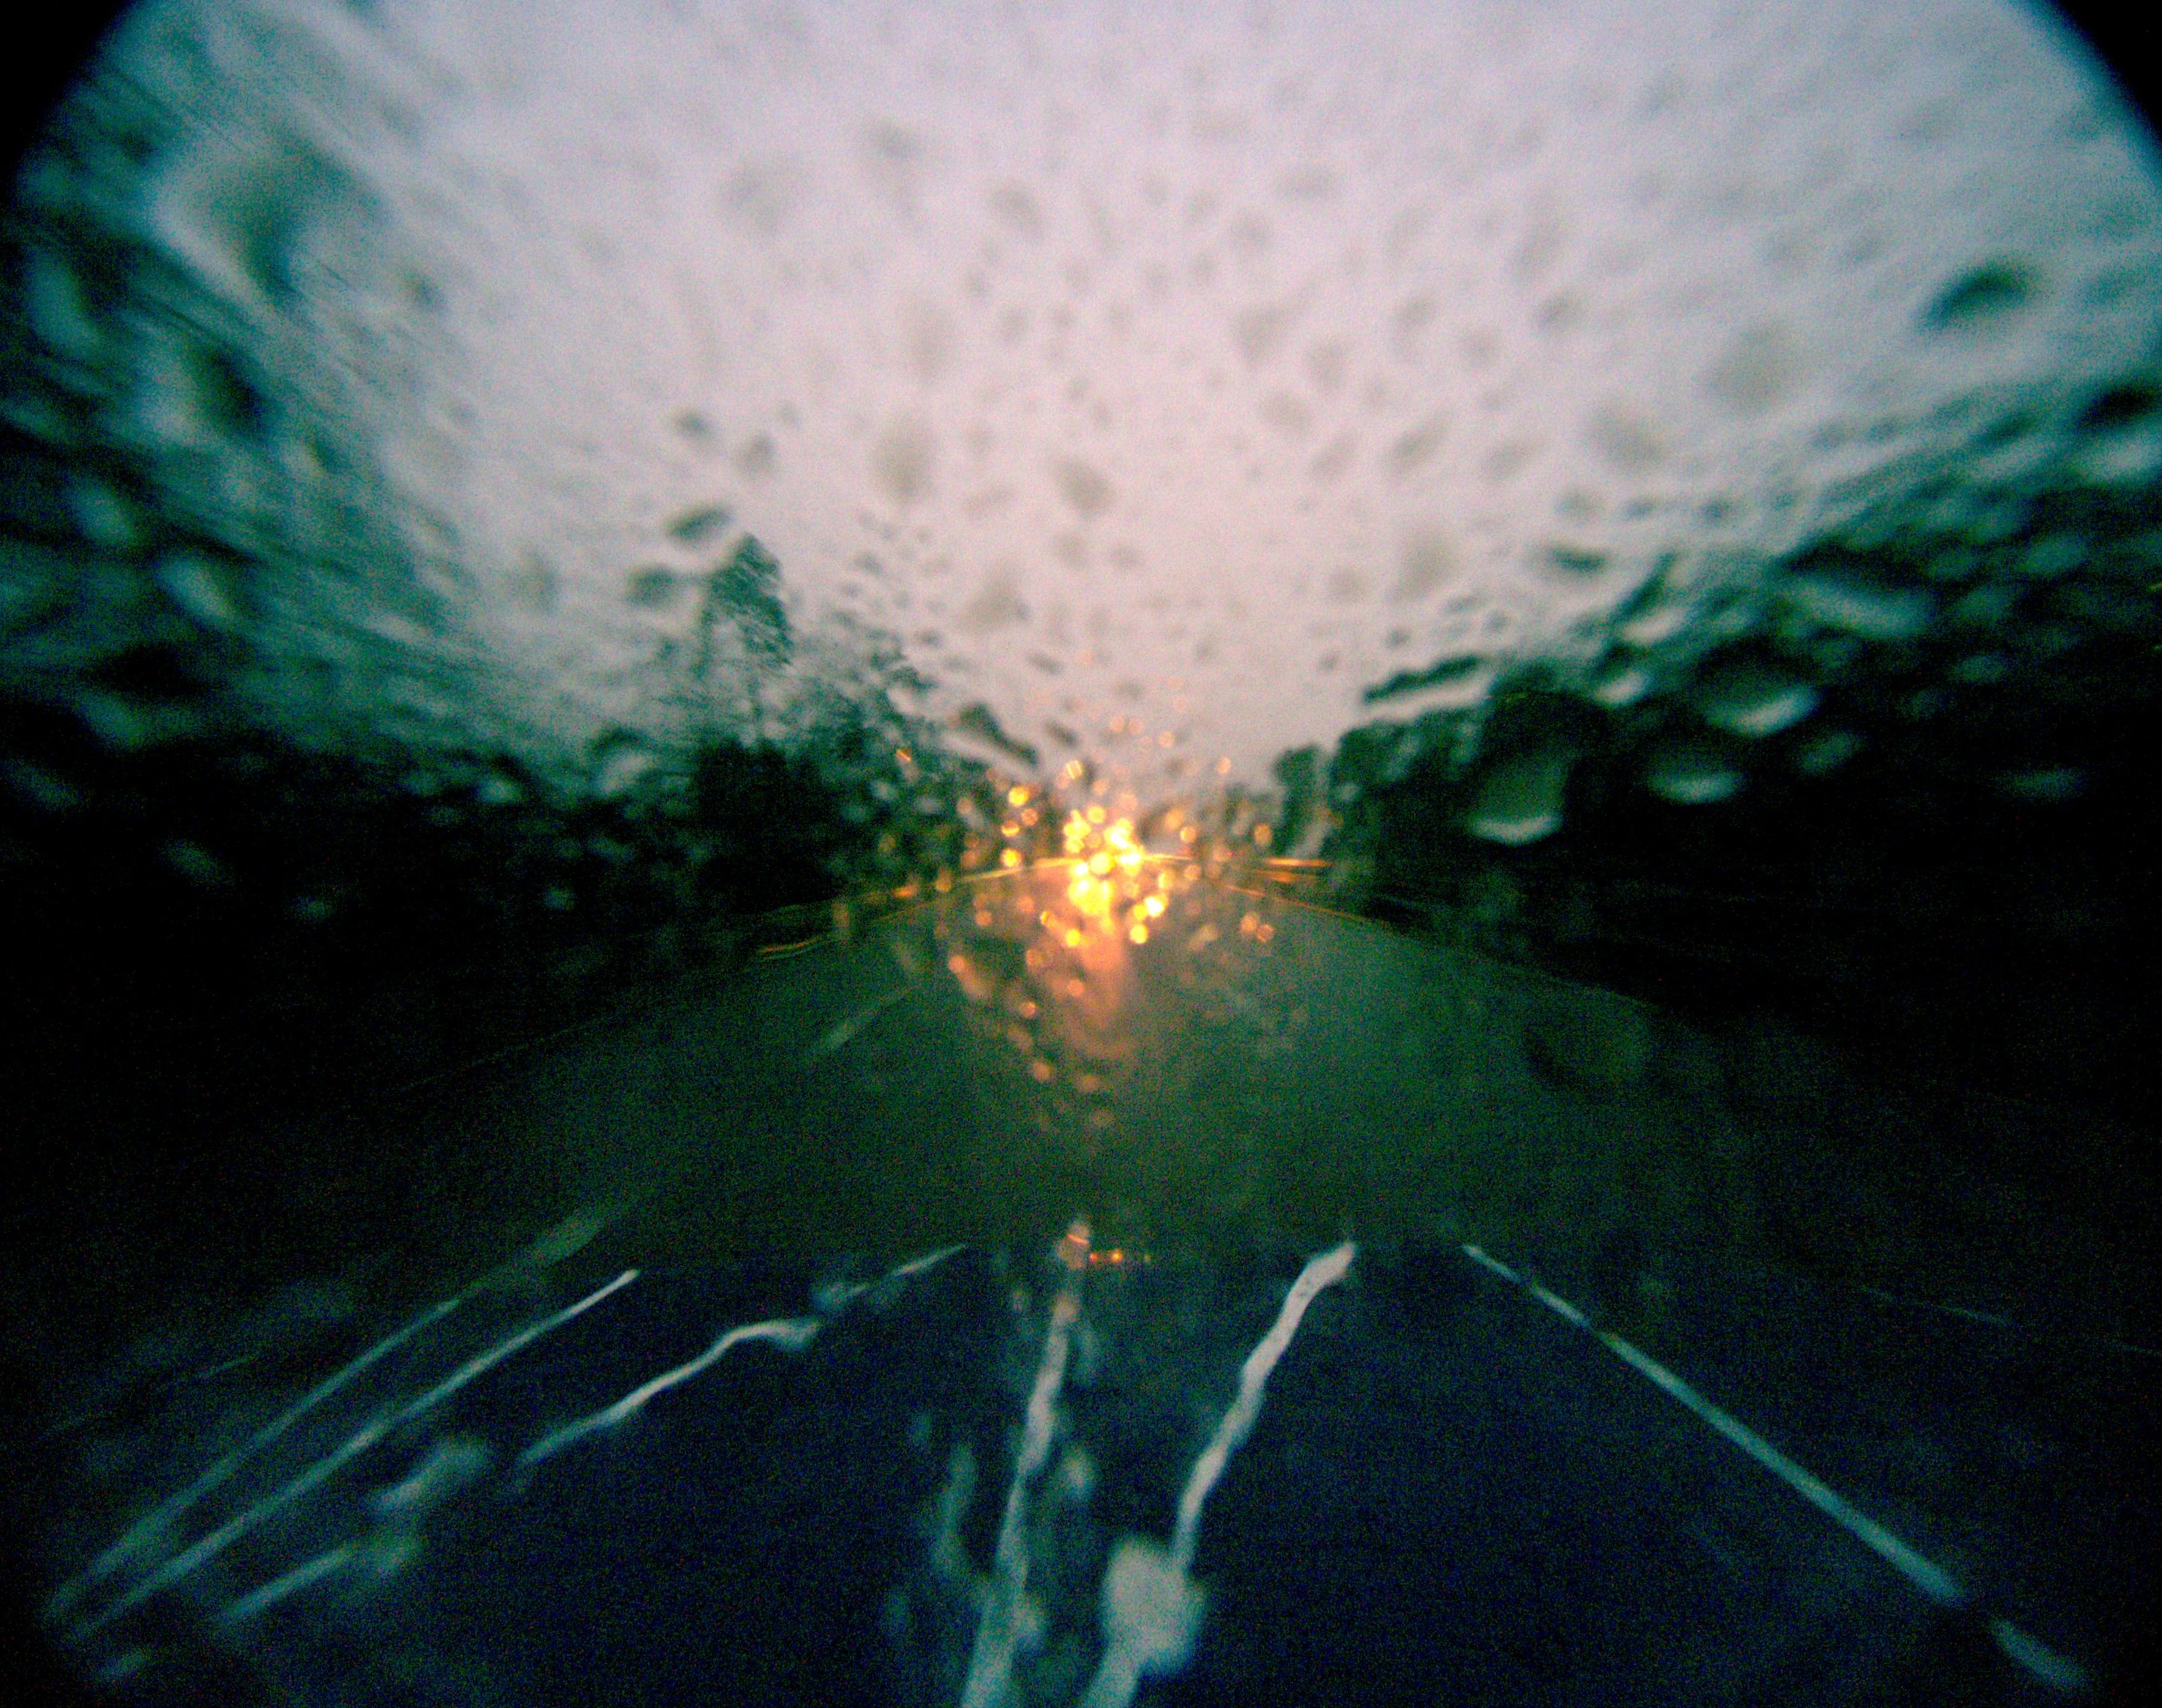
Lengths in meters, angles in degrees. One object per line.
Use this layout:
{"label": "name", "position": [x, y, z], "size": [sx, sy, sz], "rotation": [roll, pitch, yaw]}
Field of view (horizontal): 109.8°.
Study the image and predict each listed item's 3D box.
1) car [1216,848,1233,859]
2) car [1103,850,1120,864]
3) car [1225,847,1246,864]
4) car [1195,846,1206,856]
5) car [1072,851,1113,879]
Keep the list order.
{"label": "car", "position": [21.614, -0.066, 114.631], "size": [1.998, 1.669, 4.473], "rotation": [0, 0, 2]}
{"label": "car", "position": [3.697, 0.379, 92.376], "size": [1.841, 1.553, 3.868], "rotation": [-4, 0, 1]}
{"label": "car", "position": [17.880, 0.143, 87.958], "size": [1.648, 1.775, 4.207], "rotation": [-4, 0, 2]}
{"label": "car", "position": [23.852, -0.637, 151.631], "size": [1.997, 1.743, 4.901], "rotation": [-4, 0, 7]}
{"label": "car", "position": [0.732, 0.621, 45.369], "size": [1.951, 1.511, 4.790], "rotation": [-2, 0, 7]}
